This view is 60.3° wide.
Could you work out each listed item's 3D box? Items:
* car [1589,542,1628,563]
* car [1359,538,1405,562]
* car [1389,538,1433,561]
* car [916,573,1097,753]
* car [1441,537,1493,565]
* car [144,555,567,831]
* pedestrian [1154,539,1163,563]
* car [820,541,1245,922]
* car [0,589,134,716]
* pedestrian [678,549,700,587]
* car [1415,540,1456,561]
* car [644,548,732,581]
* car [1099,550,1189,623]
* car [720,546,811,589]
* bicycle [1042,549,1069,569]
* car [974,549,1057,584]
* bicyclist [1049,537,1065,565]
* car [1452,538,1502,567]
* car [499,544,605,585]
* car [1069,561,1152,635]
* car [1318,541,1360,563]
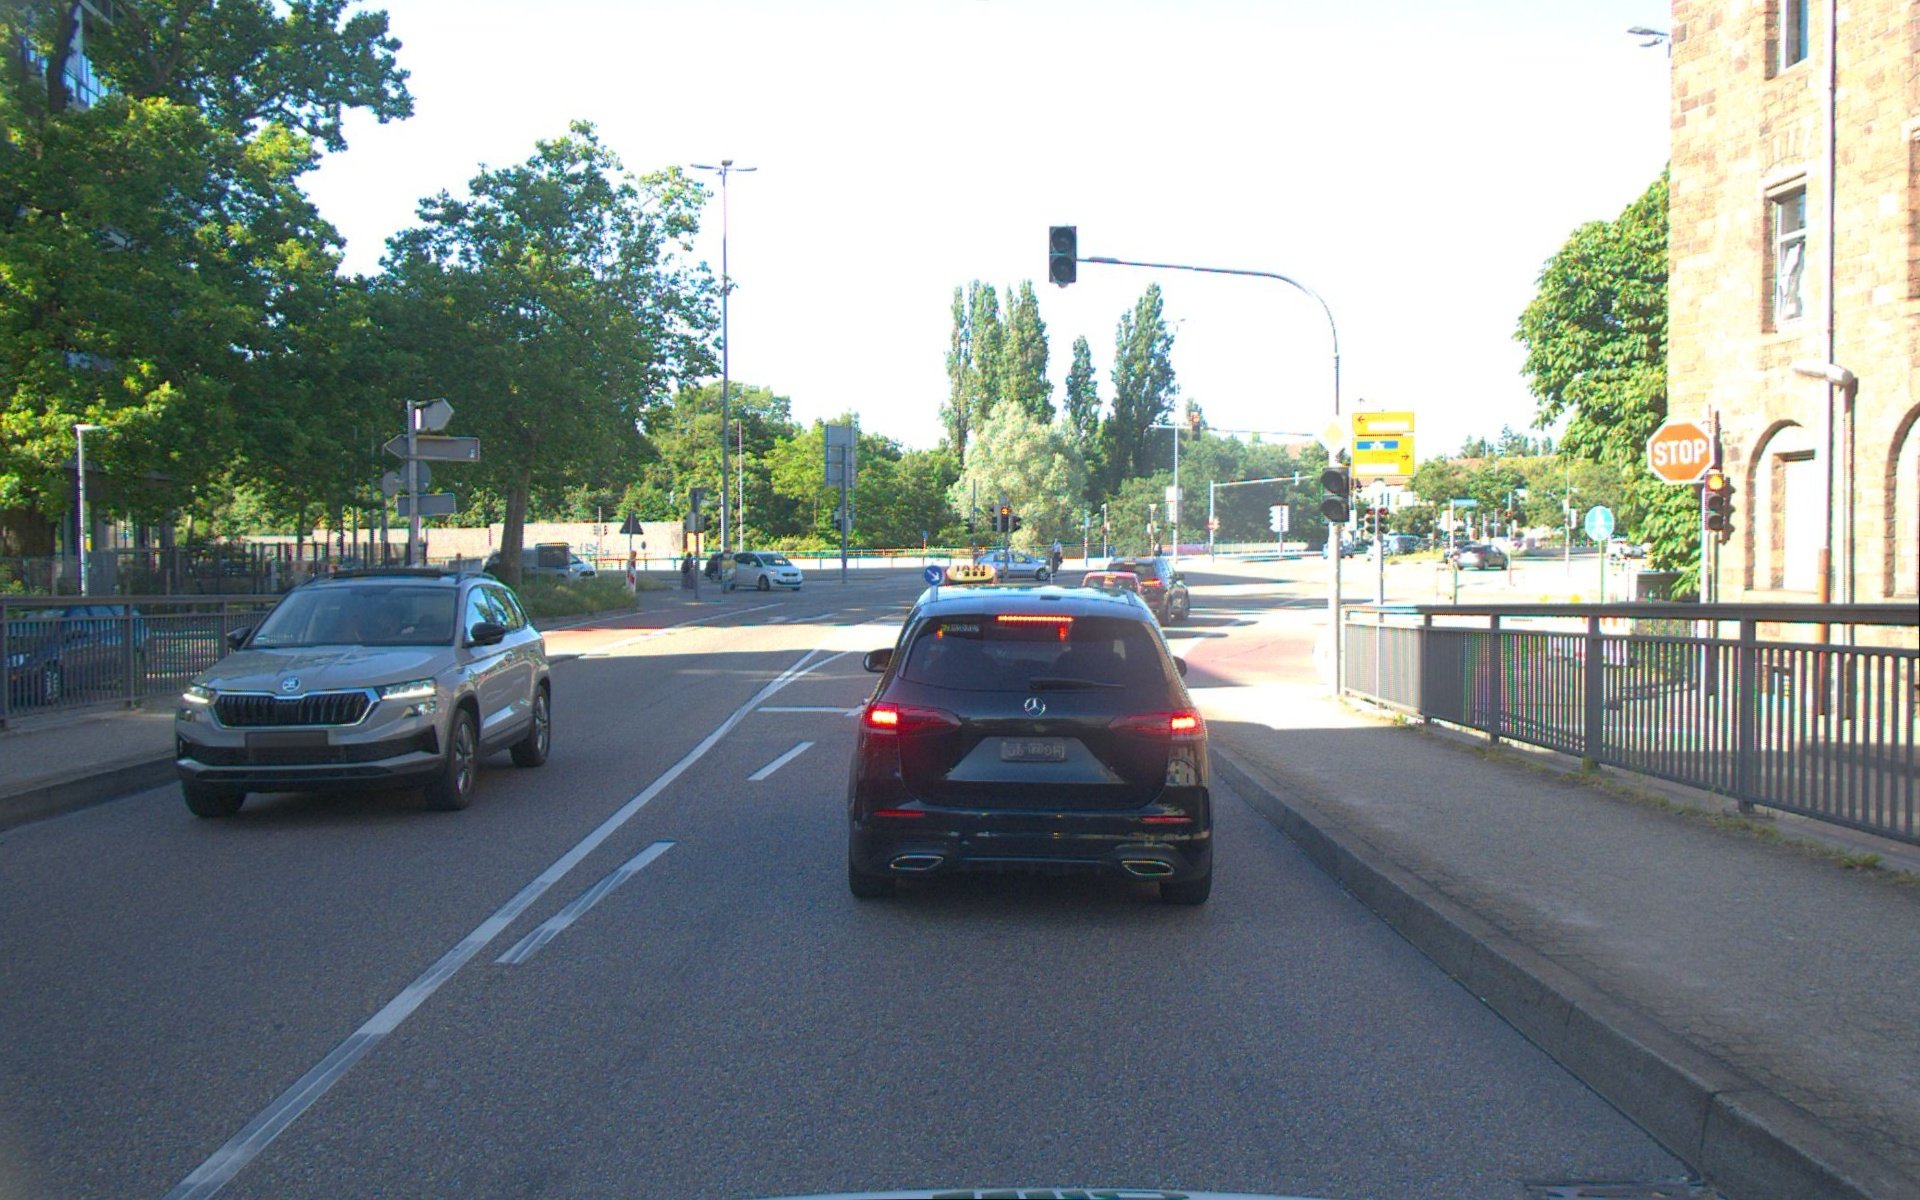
[{"bbox_3d":[47.336,-3.478,120.716,1.957,1.389,4.306,0,3,31],"label":"car"},{"bbox_3d":[29.420,-3.472,115.135,1.846,1.605,3.987,1,2,35],"label":"car"},{"bbox_3d":[32.821,-3.656,120.345,1.846,1.605,3.987,1,2,35],"label":"car"},{"bbox_3d":[0.467,0.545,16.696,1.606,1.556,3.475,-1,2,1],"label":"car"},{"bbox_3d":[32.235,-3.093,105.069,1.854,1.574,3.982,1,0,37],"label":"car"},{"bbox_3d":[-4.168,0.542,12.131,1.768,1.652,3.998,-1,1,-3],"label":"car"},{"bbox_3d":[13.842,-3.408,115.281,0.443,1.613,0.499,0,2,40],"label":"pedestrian"},{"bbox_3d":[0.291,0.550,9.237,1.839,1.641,3.999,1,1,-1],"label":"car"},{"bbox_3d":[-14.761,0.752,25.754,1.814,1.722,4.000,0,2,-1],"label":"car"},{"bbox_3d":[-11.116,-1.308,67.798,0.690,1.552,0.744,1,1,10],"label":"pedestrian"},{"bbox_3d":[36.381,-3.800,126.530,1.846,1.605,3.987,1,2,35],"label":"car"},{"bbox_3d":[-13.658,-1.783,83.153,3.903,1.658,1.892,0,1,17],"label":"car"},{"bbox_3d":[5.065,-0.410,45.039,1.685,1.843,4.301,0,2,17],"label":"car"},{"bbox_3d":[-8.086,-1.369,68.456,1.769,1.663,3.938,-4,4,-42],"label":"car"},{"bbox_3d":[5.445,-2.334,94.565,0.517,1.068,1.982,-1,2,37],"label":"bicycle"},{"bbox_3d":[2.677,-1.631,80.751,3.908,1.658,1.890,0,1,-4],"label":"car"},{"bbox_3d":[5.530,-2.791,94.657,0.517,1.578,0.803,-1,2,37],"label":"bicyclist"},{"bbox_3d":[29.612,-2.689,94.713,1.708,1.524,3.988,0,0,33],"label":"car"},{"bbox_3d":[-19.076,-1.651,77.239,4.792,1.825,1.921,0,2,30],"label":"car"},{"bbox_3d":[3.616,-0.090,39.292,1.685,1.548,3.490,0,3,10],"label":"car"},{"bbox_3d":[29.177,-3.715,127.323,1.846,1.605,3.987,1,2,35],"label":"car"}]
